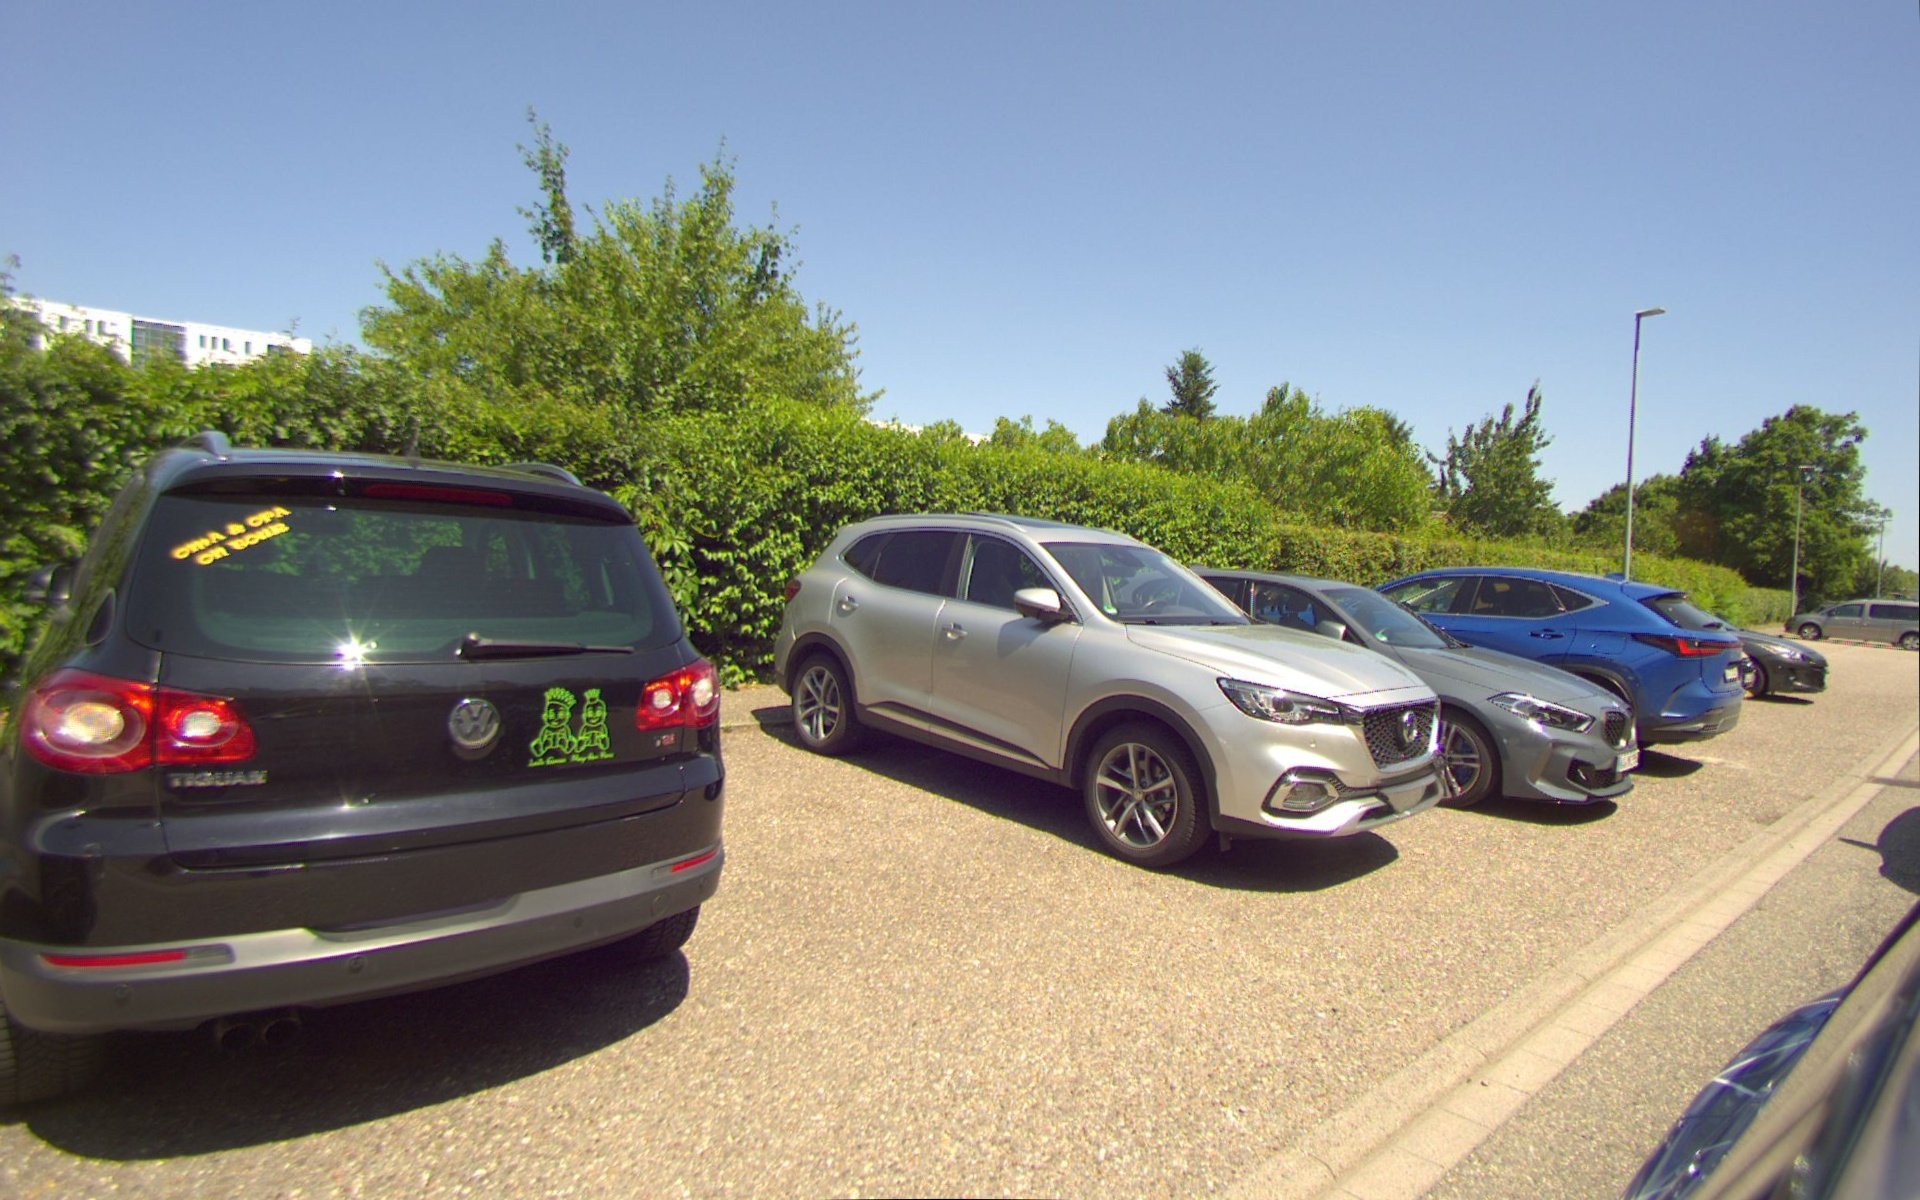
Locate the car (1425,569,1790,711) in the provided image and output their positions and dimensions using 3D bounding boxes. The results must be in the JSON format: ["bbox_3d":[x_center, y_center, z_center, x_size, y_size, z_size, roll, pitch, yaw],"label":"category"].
[{"bbox_3d":[9.112,0.454,14.530,1.620,1.463,4.037,1,5,-40],"label":"car"}]

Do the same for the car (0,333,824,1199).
[{"bbox_3d":[-2.364,0.238,3.841,1.735,1.706,3.983,1,4,-40],"label":"car"}]

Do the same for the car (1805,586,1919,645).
[{"bbox_3d":[35.540,0.628,38.870,1.668,1.872,4.487,1,5,-44],"label":"car"}]

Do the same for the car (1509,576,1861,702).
[{"bbox_3d":[11.426,0.508,16.220,1.620,1.434,4.253,1,5,-40],"label":"car"}]

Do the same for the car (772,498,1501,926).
[{"bbox_3d":[0.735,0.313,6.257,1.746,1.661,4.168,0,5,-42],"label":"car"}]

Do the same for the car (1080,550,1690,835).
[{"bbox_3d":[3.035,0.473,7.954,1.650,1.426,4.036,1,5,-41],"label":"car"}]

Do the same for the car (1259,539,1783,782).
[{"bbox_3d":[5.182,0.381,9.834,1.644,1.661,4.037,1,5,-40],"label":"car"}]

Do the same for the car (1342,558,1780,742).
[{"bbox_3d":[6.845,0.434,11.905,1.620,1.532,4.037,1,5,-40],"label":"car"}]
